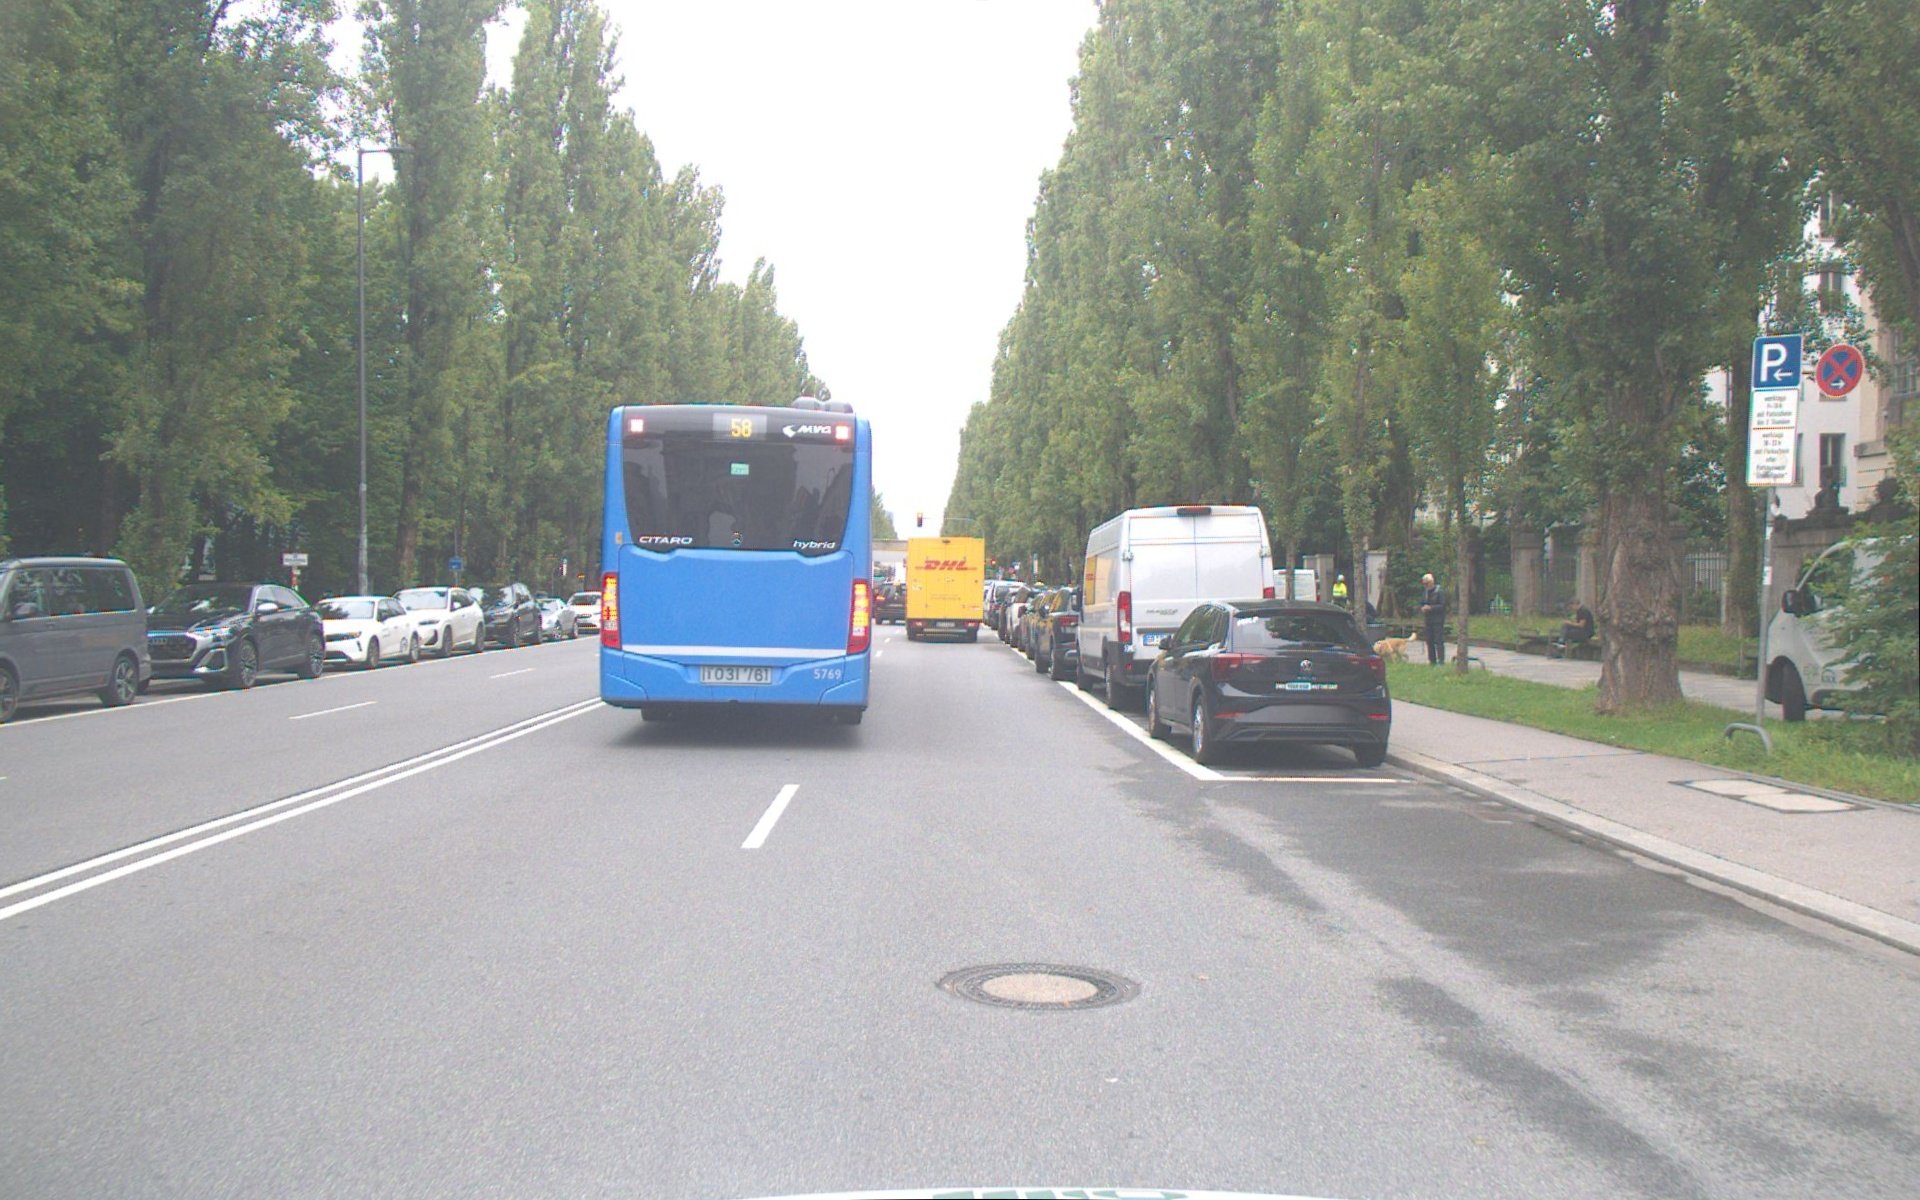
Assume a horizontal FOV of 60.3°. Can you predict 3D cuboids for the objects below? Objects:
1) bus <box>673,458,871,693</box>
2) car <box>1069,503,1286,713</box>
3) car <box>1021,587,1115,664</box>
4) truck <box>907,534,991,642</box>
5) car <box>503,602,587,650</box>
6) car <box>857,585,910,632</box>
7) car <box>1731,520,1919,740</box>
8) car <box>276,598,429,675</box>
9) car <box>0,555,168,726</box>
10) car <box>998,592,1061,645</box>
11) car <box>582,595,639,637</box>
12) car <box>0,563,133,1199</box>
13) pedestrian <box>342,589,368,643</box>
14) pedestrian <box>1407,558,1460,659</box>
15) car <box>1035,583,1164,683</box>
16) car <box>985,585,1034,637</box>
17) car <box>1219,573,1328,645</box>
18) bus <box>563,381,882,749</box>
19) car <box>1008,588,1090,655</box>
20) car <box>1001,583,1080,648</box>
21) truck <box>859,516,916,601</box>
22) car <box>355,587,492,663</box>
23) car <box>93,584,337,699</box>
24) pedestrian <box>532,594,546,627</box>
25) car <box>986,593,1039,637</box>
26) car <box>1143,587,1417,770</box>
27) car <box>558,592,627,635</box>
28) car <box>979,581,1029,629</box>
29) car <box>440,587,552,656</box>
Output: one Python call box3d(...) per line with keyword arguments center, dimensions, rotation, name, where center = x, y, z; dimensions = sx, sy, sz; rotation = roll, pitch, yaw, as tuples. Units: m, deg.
box3d(center=(-2.980, -0.359, 28.593), dimensions=(2.815, 3.362, 9.782), rotation=(0, 0, -4), name="bus")
box3d(center=(2.861, 0.084, 23.279), dimensions=(2.032, 2.522, 6.282), rotation=(1, 0, -2), name="car")
box3d(center=(2.267, 0.516, 35.572), dimensions=(1.618, 1.530, 4.112), rotation=(1, 0, -2), name="car")
box3d(center=(-0.411, -0.330, 48.870), dimensions=(2.280, 2.949, 7.330), rotation=(0, 0, -2), name="truck")
box3d(center=(-12.670, 0.762, 50.721), dimensions=(1.548, 1.327, 4.028), rotation=(-2, 0, -1), name="car")
box3d(center=(-3.055, 0.300, 66.759), dimensions=(1.994, 1.833, 4.506), rotation=(0, 0, -1), name="car")
box3d(center=(9.598, 0.267, 15.901), dimensions=(1.953, 1.980, 5.082), rotation=(0, 0, -1), name="car")
box3d(center=(-12.367, 0.701, 33.939), dimensions=(1.642, 1.447, 4.236), rotation=(-2, 0, -2), name="car")
box3d(center=(-12.163, 0.481, 20.946), dimensions=(1.953, 1.990, 4.935), rotation=(-2, 0, -2), name="car")
box3d(center=(2.053, 0.536, 50.000), dimensions=(1.690, 1.521, 4.323), rotation=(0, 0, -1), name="car")
box3d(center=(-13.457, 0.596, 63.844), dimensions=(1.710, 1.545, 4.112), rotation=(-2, 0, -7), name="car")
box3d(center=(-2.656, 0.656, 1.226), dimensions=(1.788, 1.480, 4.582), rotation=(1, 0, -1), name="car")
box3d(center=(-20.809, 0.560, 56.888), dimensions=(0.627, 1.847, 0.775), rotation=(0, 0, -1), name="pedestrian")
box3d(center=(8.881, 0.159, 31.055), dimensions=(0.643, 1.871, 0.782), rotation=(0, 0, -15), name="pedestrian")
box3d(center=(2.401, 0.537, 29.421), dimensions=(1.784, 1.618, 4.221), rotation=(1, 0, -2), name="car")
box3d(center=(1.965, 0.415, 66.634), dimensions=(1.769, 2.011, 4.236), rotation=(1, 0, -1), name="car")
box3d(center=(8.954, 0.247, 47.671), dimensions=(1.953, 1.959, 5.322), rotation=(0, 0, -2), name="car")
box3d(center=(-2.402, -0.327, 19.330), dimensions=(2.799, 3.270, 9.053), rotation=(1, 0, -4), name="bus")
box3d(center=(2.092, 0.486, 39.825), dimensions=(1.600, 1.471, 4.147), rotation=(2, 0, -2), name="car")
box3d(center=(2.114, 0.391, 44.317), dimensions=(1.745, 1.609, 4.145), rotation=(2, 0, -2), name="car")
box3d(center=(-3.674, -1.969, 82.533), dimensions=(2.662, 4.034, 9.212), rotation=(0, 0, -3), name="truck")
box3d(center=(-12.548, 0.547, 38.992), dimensions=(1.749, 1.616, 4.461), rotation=(-2, 1, -1), name="car")
box3d(center=(-12.049, 0.608, 27.180), dimensions=(1.778, 1.637, 5.051), rotation=(-2, 0, -2), name="car")
box3d(center=(-22.793, 0.587, 89.560), dimensions=(0.587, 1.769, 0.640), rotation=(0, 0, -1), name="pedestrian")
box3d(center=(1.909, 0.527, 61.118), dimensions=(1.825, 1.579, 3.999), rotation=(0, 0, -1), name="car")
box3d(center=(2.923, 0.653, 15.958), dimensions=(1.719, 1.475, 3.999), rotation=(2, 0, -2), name="car")
box3d(center=(-13.134, 0.478, 59.297), dimensions=(1.651, 1.437, 4.003), rotation=(-2, 0, -2), name="car")
box3d(center=(1.937, 0.194, 74.867), dimensions=(2.011, 2.049, 5.691), rotation=(0, 0, -1), name="car")
box3d(center=(-12.511, 0.526, 44.892), dimensions=(1.842, 1.687, 4.716), rotation=(-2, 1, -3), name="car")
